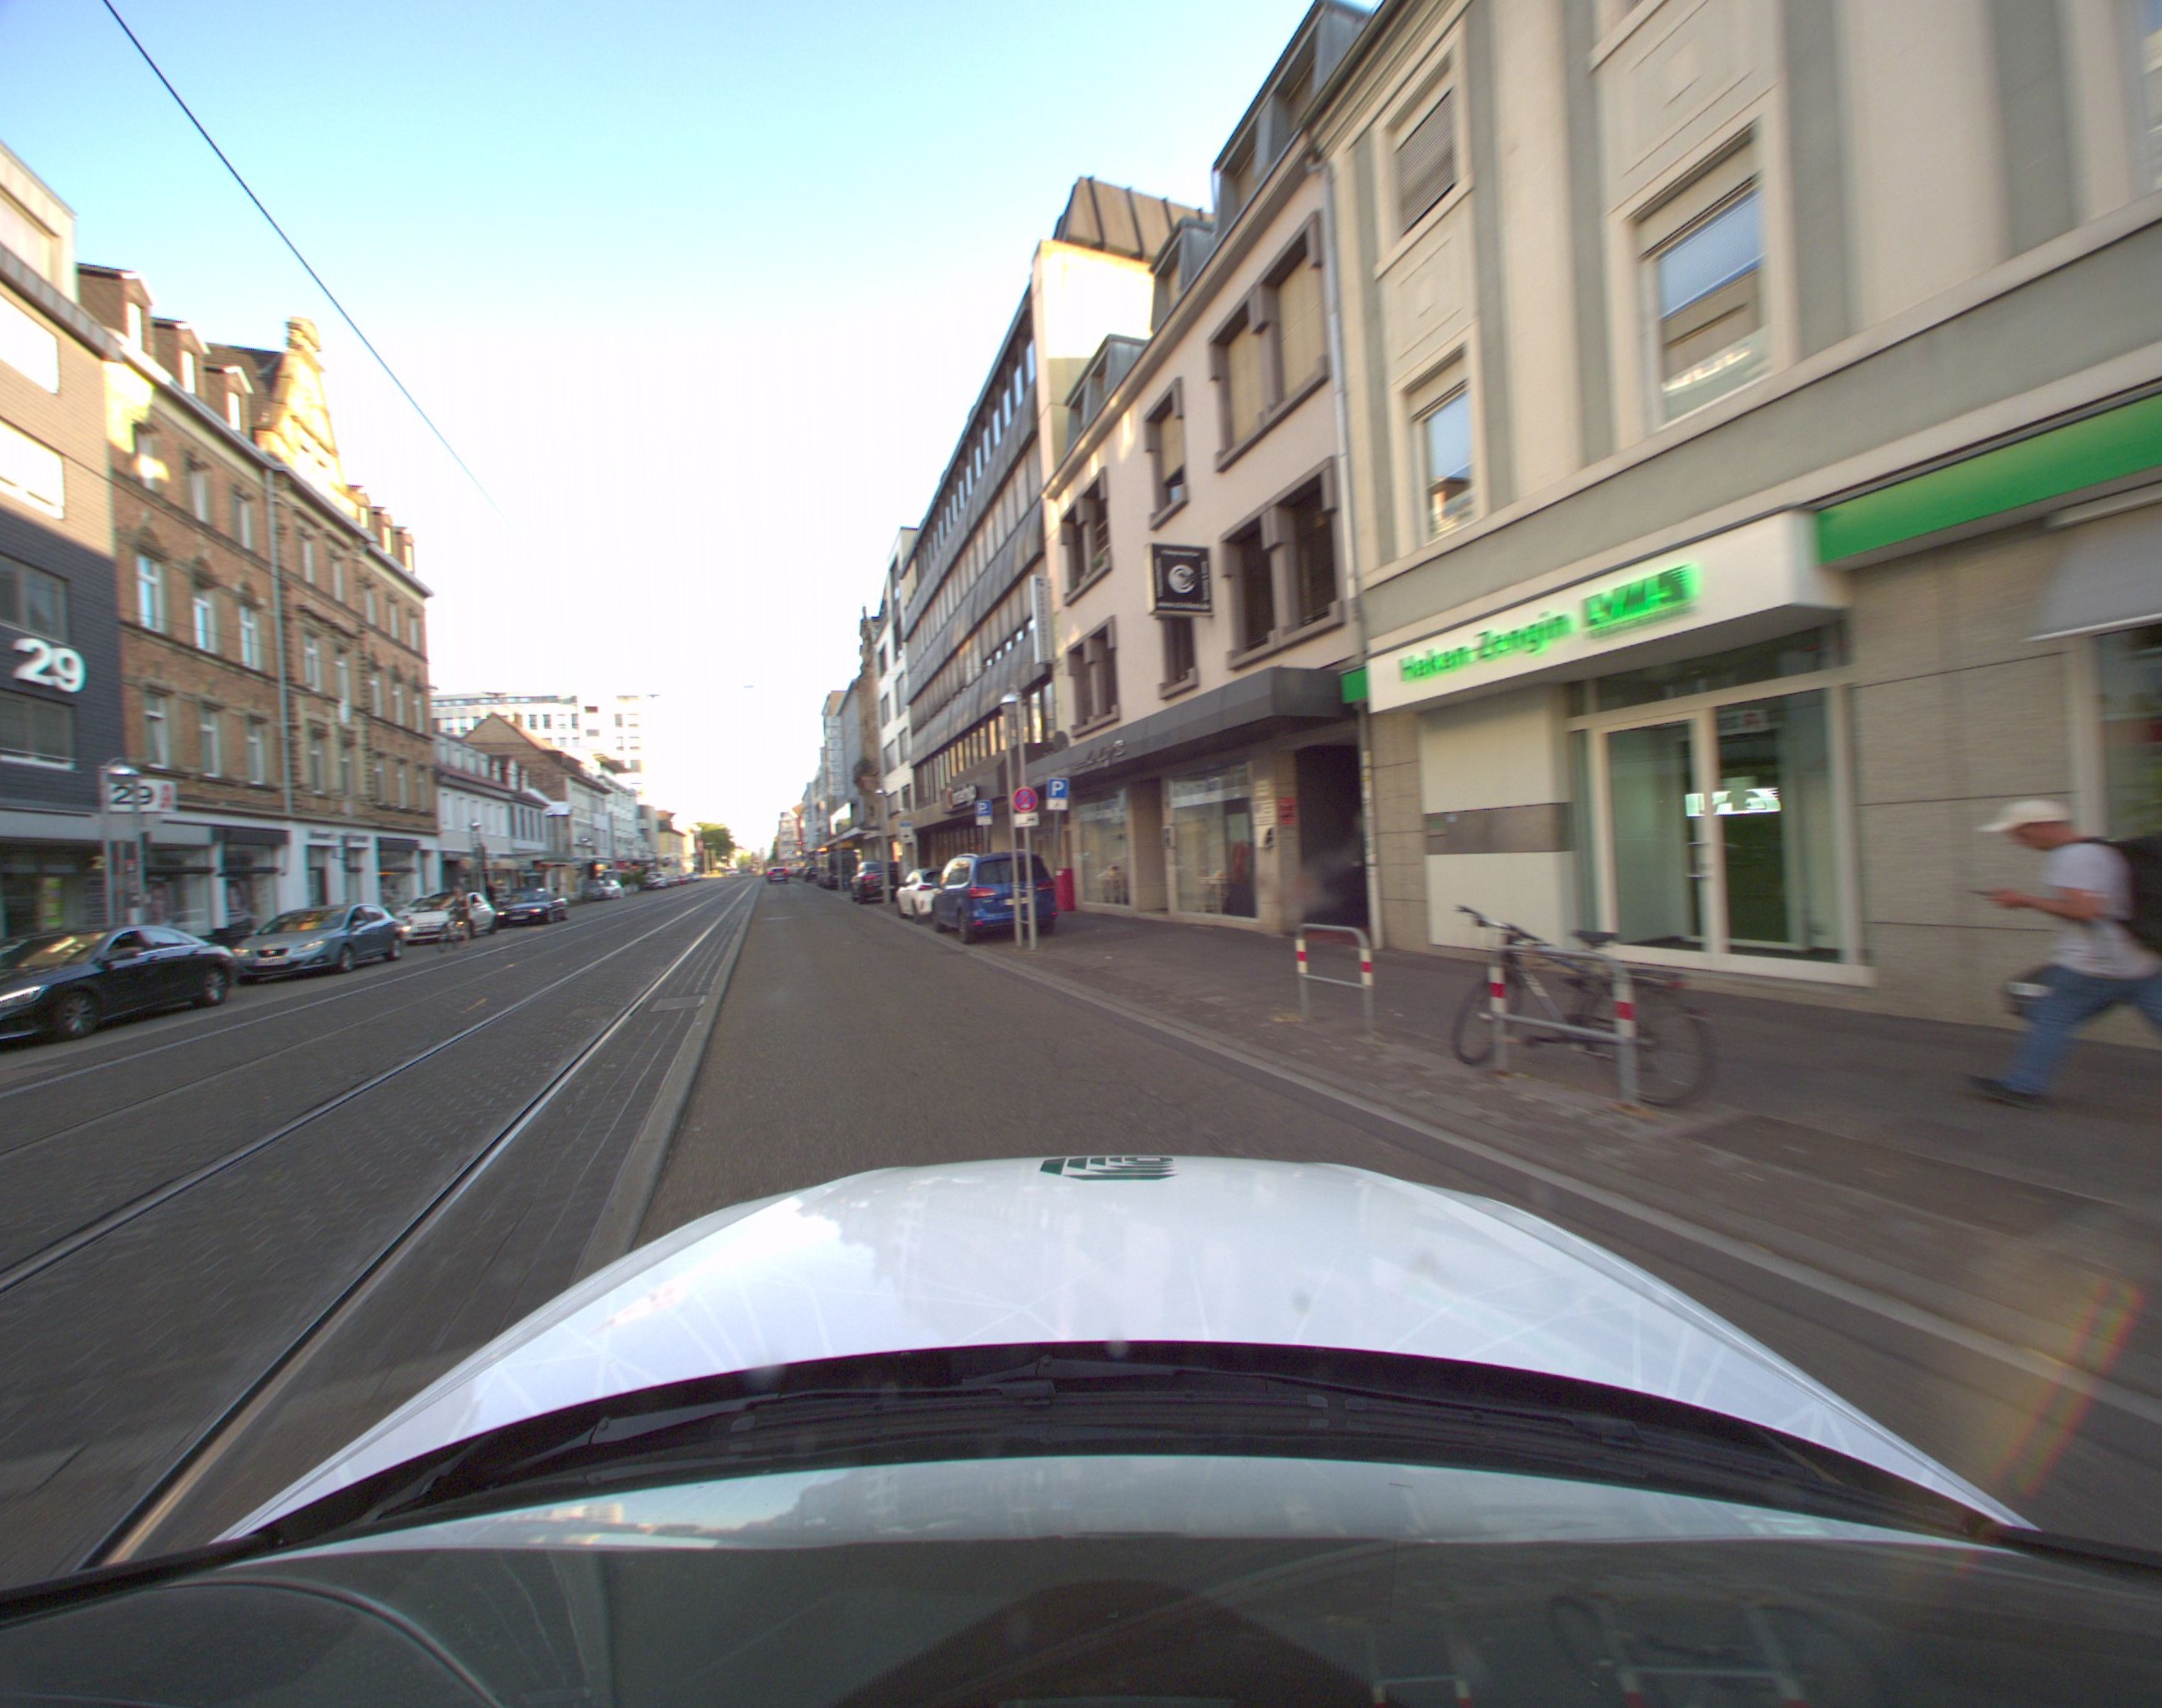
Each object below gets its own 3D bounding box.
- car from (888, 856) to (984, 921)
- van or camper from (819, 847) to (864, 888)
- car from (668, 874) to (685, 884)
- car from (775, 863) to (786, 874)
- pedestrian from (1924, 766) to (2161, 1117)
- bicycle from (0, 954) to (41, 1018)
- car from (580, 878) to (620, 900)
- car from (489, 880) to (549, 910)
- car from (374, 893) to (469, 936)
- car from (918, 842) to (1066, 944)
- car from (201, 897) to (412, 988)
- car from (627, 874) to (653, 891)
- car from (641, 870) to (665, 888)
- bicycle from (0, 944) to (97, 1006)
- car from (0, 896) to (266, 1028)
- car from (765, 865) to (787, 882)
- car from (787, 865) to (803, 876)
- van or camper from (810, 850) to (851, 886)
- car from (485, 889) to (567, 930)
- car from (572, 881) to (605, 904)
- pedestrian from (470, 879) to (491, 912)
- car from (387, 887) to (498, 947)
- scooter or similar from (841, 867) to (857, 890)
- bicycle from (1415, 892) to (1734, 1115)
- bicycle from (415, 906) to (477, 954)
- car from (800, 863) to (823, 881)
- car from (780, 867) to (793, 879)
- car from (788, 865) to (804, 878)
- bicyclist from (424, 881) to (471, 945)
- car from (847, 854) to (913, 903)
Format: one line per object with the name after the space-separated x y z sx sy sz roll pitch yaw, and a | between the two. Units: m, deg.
-4.153 0.907 22.821 1.773 1.485 3.843 -6 1 -22 | car
-16.452 0.923 55.760 2.198 2.426 6.087 -6 1 -22 | van or camper
-57.747 3.525 116.269 1.798 1.339 3.862 -1 -1 -22 | car
-63.826 2.994 172.876 1.951 2.145 4.512 -6 1 -21 | car
4.962 0.374 4.006 0.699 1.548 0.864 -4 0 -20 | pedestrian
-18.297 2.178 13.142 1.863 0.983 0.489 -1 -1 -22 | bicycle
-36.642 2.635 62.150 1.856 1.504 4.806 -1 -1 -21 | car
-29.588 2.114 42.984 1.740 1.389 3.837 -1 -1 -21 | car
-25.416 2.281 31.562 1.767 1.389 4.240 -1 -1 -24 | car
-2.070 0.750 17.433 1.922 1.716 4.531 -6 1 -21 | car
-16.436 1.790 17.584 1.765 1.386 4.032 -6 1 -21 | car
-46.918 2.996 86.725 1.925 1.763 4.397 -1 -1 -21 | car
-49.544 2.873 94.317 1.925 1.936 4.806 -1 -1 -21 | car
-18.760 2.137 14.317 1.863 0.983 0.459 -1 -1 -22 | bicycle
-14.253 1.475 11.613 1.922 1.386 4.531 -6 1 -21 | car
-31.305 1.992 83.520 1.951 1.545 4.512 -3 0 -21 | car
-43.134 2.468 122.743 1.951 1.544 4.512 -6 1 -21 | car
-18.932 1.066 61.447 2.199 2.426 5.475 -6 1 -23 | van or camper
-21.584 2.121 31.853 1.674 1.228 4.242 -6 1 -22 | car
-35.015 2.709 57.964 1.598 1.504 2.791 -1 -1 -22 | car
-33.002 2.253 44.753 0.650 1.772 0.849 -2 0 -21 | pedestrian
-20.061 1.914 25.755 1.674 1.505 3.653 -6 1 -22 | car
-13.840 1.452 48.590 0.352 1.223 1.119 -5 1 11 | scooter or similar
2.934 0.810 5.046 0.480 1.089 1.634 -5 0 -25 | bicycle
-16.408 1.931 21.093 0.696 1.034 2.065 -3 0 -23 | bicycle
-27.384 1.815 82.638 1.951 1.544 4.512 -6 1 -21 | car
-49.703 3.206 137.354 1.951 1.703 4.512 -6 1 -21 | car
-41.275 2.536 117.790 1.951 1.544 4.512 -6 1 -21 | car
-16.490 1.517 21.217 0.696 1.565 0.793 -3 0 -23 | bicyclist
-8.482 0.986 34.136 1.992 1.734 4.637 -6 1 -21 | car
